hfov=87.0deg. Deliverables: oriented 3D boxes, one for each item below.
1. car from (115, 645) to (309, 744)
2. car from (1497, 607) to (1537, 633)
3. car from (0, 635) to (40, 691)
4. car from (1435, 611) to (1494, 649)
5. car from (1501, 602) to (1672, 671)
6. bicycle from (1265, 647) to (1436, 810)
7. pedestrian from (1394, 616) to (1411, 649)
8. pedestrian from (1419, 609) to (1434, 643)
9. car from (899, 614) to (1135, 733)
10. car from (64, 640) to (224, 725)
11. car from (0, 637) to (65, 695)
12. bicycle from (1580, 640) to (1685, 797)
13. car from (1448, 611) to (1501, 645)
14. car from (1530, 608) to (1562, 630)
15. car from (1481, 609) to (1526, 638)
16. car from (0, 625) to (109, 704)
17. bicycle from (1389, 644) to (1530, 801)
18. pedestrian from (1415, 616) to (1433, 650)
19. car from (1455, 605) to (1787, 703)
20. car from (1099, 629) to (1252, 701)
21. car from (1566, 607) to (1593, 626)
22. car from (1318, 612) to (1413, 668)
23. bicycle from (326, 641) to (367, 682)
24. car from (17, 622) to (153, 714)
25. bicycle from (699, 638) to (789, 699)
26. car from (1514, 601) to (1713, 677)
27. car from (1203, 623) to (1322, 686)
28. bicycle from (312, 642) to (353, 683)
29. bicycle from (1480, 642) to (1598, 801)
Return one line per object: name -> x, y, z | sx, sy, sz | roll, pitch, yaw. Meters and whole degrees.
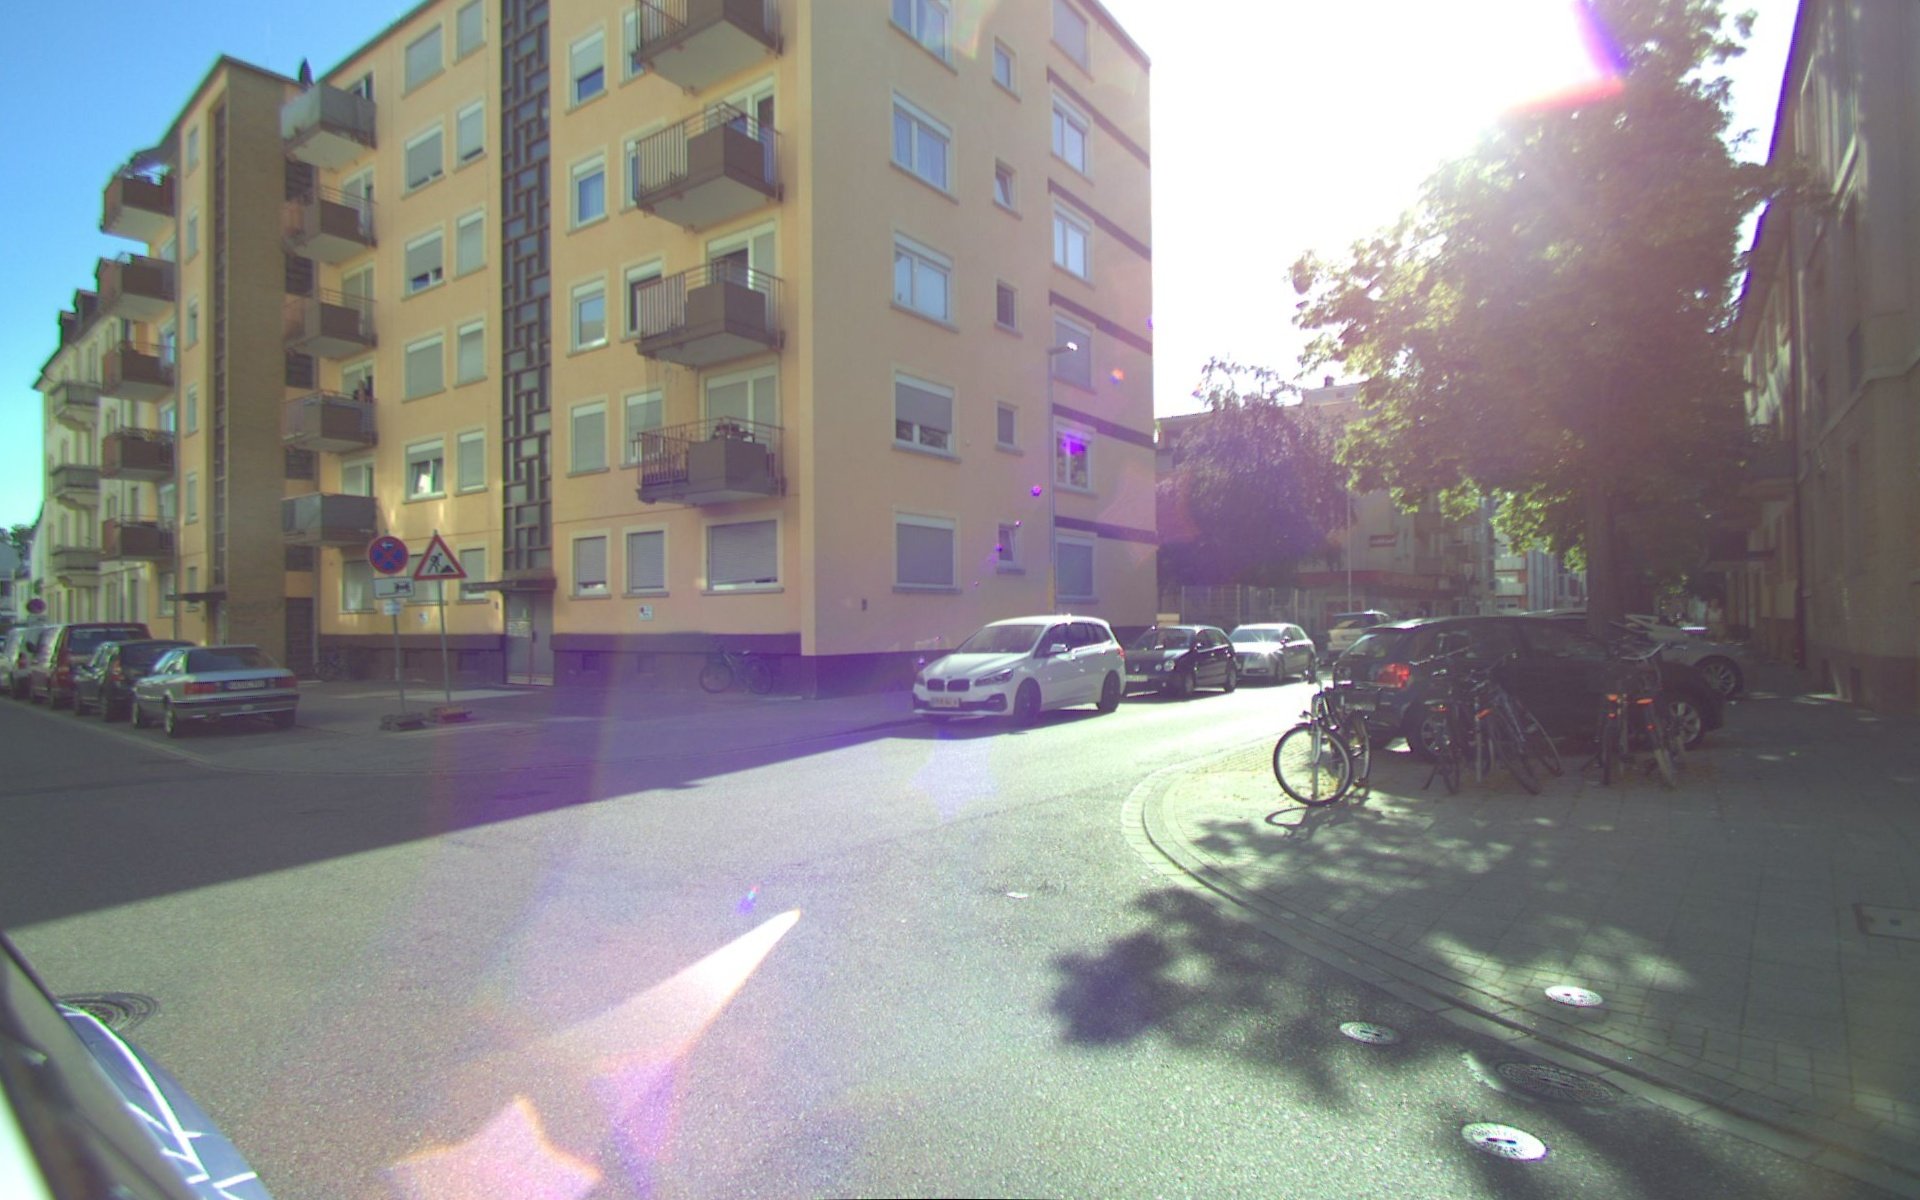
car -> -12.671, 1.491, 17.032 | 4.476, 1.388, 1.744 | -2, -1, 42
car -> 40.391, 1.466, 73.351 | 2.103, 1.780, 4.459 | -3, -2, 34
car -> -32.946, 2.144, 34.582 | 4.291, 1.784, 1.744 | -2, -1, 41
car -> 25.610, 1.505, 51.259 | 2.103, 1.780, 4.459 | -3, -2, 34
car -> 16.533, 0.968, 26.928 | 3.588, 1.680, 1.691 | -3, -2, 24
bicycle -> 3.277, 0.996, 8.400 | 0.648, 1.144, 1.878 | -5, -3, 42
pedestrian -> 22.112, 1.630, 50.598 | 0.660, 1.653, 0.520 | -2, -2, 36
pedestrian -> 26.875, 1.503, 58.346 | 0.660, 1.918, 0.520 | -2, -2, 36
car -> 1.058, 1.056, 16.026 | 1.722, 1.605, 4.397 | -3, -2, 33
car -> -16.366, 1.579, 20.244 | 3.996, 1.514, 1.745 | -2, -3, 40
car -> -29.440, 2.018, 31.536 | 4.292, 1.633, 1.744 | -2, -1, 41
bicycle -> 5.729, 0.942, 8.578 | 0.525, 1.144, 1.880 | -4, -3, 38
car -> 28.651, 1.532, 56.311 | 2.103, 1.780, 4.459 | -3, -2, 34
car -> 51.303, 1.658, 88.592 | 2.103, 1.780, 4.459 | -3, -2, 34
car -> 34.922, 1.491, 64.977 | 2.103, 1.780, 4.459 | -3, -2, 34
car -> -25.231, 1.722, 27.862 | 5.306, 1.940, 1.955 | -2, -1, 41
bicycle -> 4.273, 0.976, 8.586 | 0.526, 1.144, 1.878 | -5, -3, 42
pedestrian -> 22.871, 1.604, 49.853 | 0.660, 1.653, 0.520 | -2, -2, 36
car -> 10.715, 0.890, 16.727 | 4.171, 1.450, 1.698 | -2, -2, 12
car -> 4.629, 1.304, 21.279 | 1.722, 1.320, 4.164 | -3, -2, 33
car -> 61.126, 1.642, 99.799 | 2.103, 1.780, 4.459 | -3, -2, 34
car -> 13.930, 1.332, 34.607 | 2.103, 1.780, 4.459 | -3, -2, 34
bicycle -> -17.494, 1.751, 28.862 | 1.759, 1.122, 0.338 | -2, -2, 36
car -> -20.792, 1.551, 23.979 | 4.932, 1.940, 1.744 | -2, -1, 41
bicycle -> -4.088, 1.266, 19.052 | 1.889, 1.071, 0.499 | -2, 0, 37
car -> 15.077, 0.910, 23.595 | 3.588, 1.621, 1.691 | -3, -2, 24
car -> 7.715, 1.332, 25.562 | 1.722, 1.415, 4.164 | -3, -2, 33
bicycle -> -17.704, 1.752, 28.541 | 1.759, 1.122, 0.338 | -2, -2, 36
bicycle -> 4.918, 0.961, 8.543 | 0.525, 1.144, 1.880 | -4, -3, 38
